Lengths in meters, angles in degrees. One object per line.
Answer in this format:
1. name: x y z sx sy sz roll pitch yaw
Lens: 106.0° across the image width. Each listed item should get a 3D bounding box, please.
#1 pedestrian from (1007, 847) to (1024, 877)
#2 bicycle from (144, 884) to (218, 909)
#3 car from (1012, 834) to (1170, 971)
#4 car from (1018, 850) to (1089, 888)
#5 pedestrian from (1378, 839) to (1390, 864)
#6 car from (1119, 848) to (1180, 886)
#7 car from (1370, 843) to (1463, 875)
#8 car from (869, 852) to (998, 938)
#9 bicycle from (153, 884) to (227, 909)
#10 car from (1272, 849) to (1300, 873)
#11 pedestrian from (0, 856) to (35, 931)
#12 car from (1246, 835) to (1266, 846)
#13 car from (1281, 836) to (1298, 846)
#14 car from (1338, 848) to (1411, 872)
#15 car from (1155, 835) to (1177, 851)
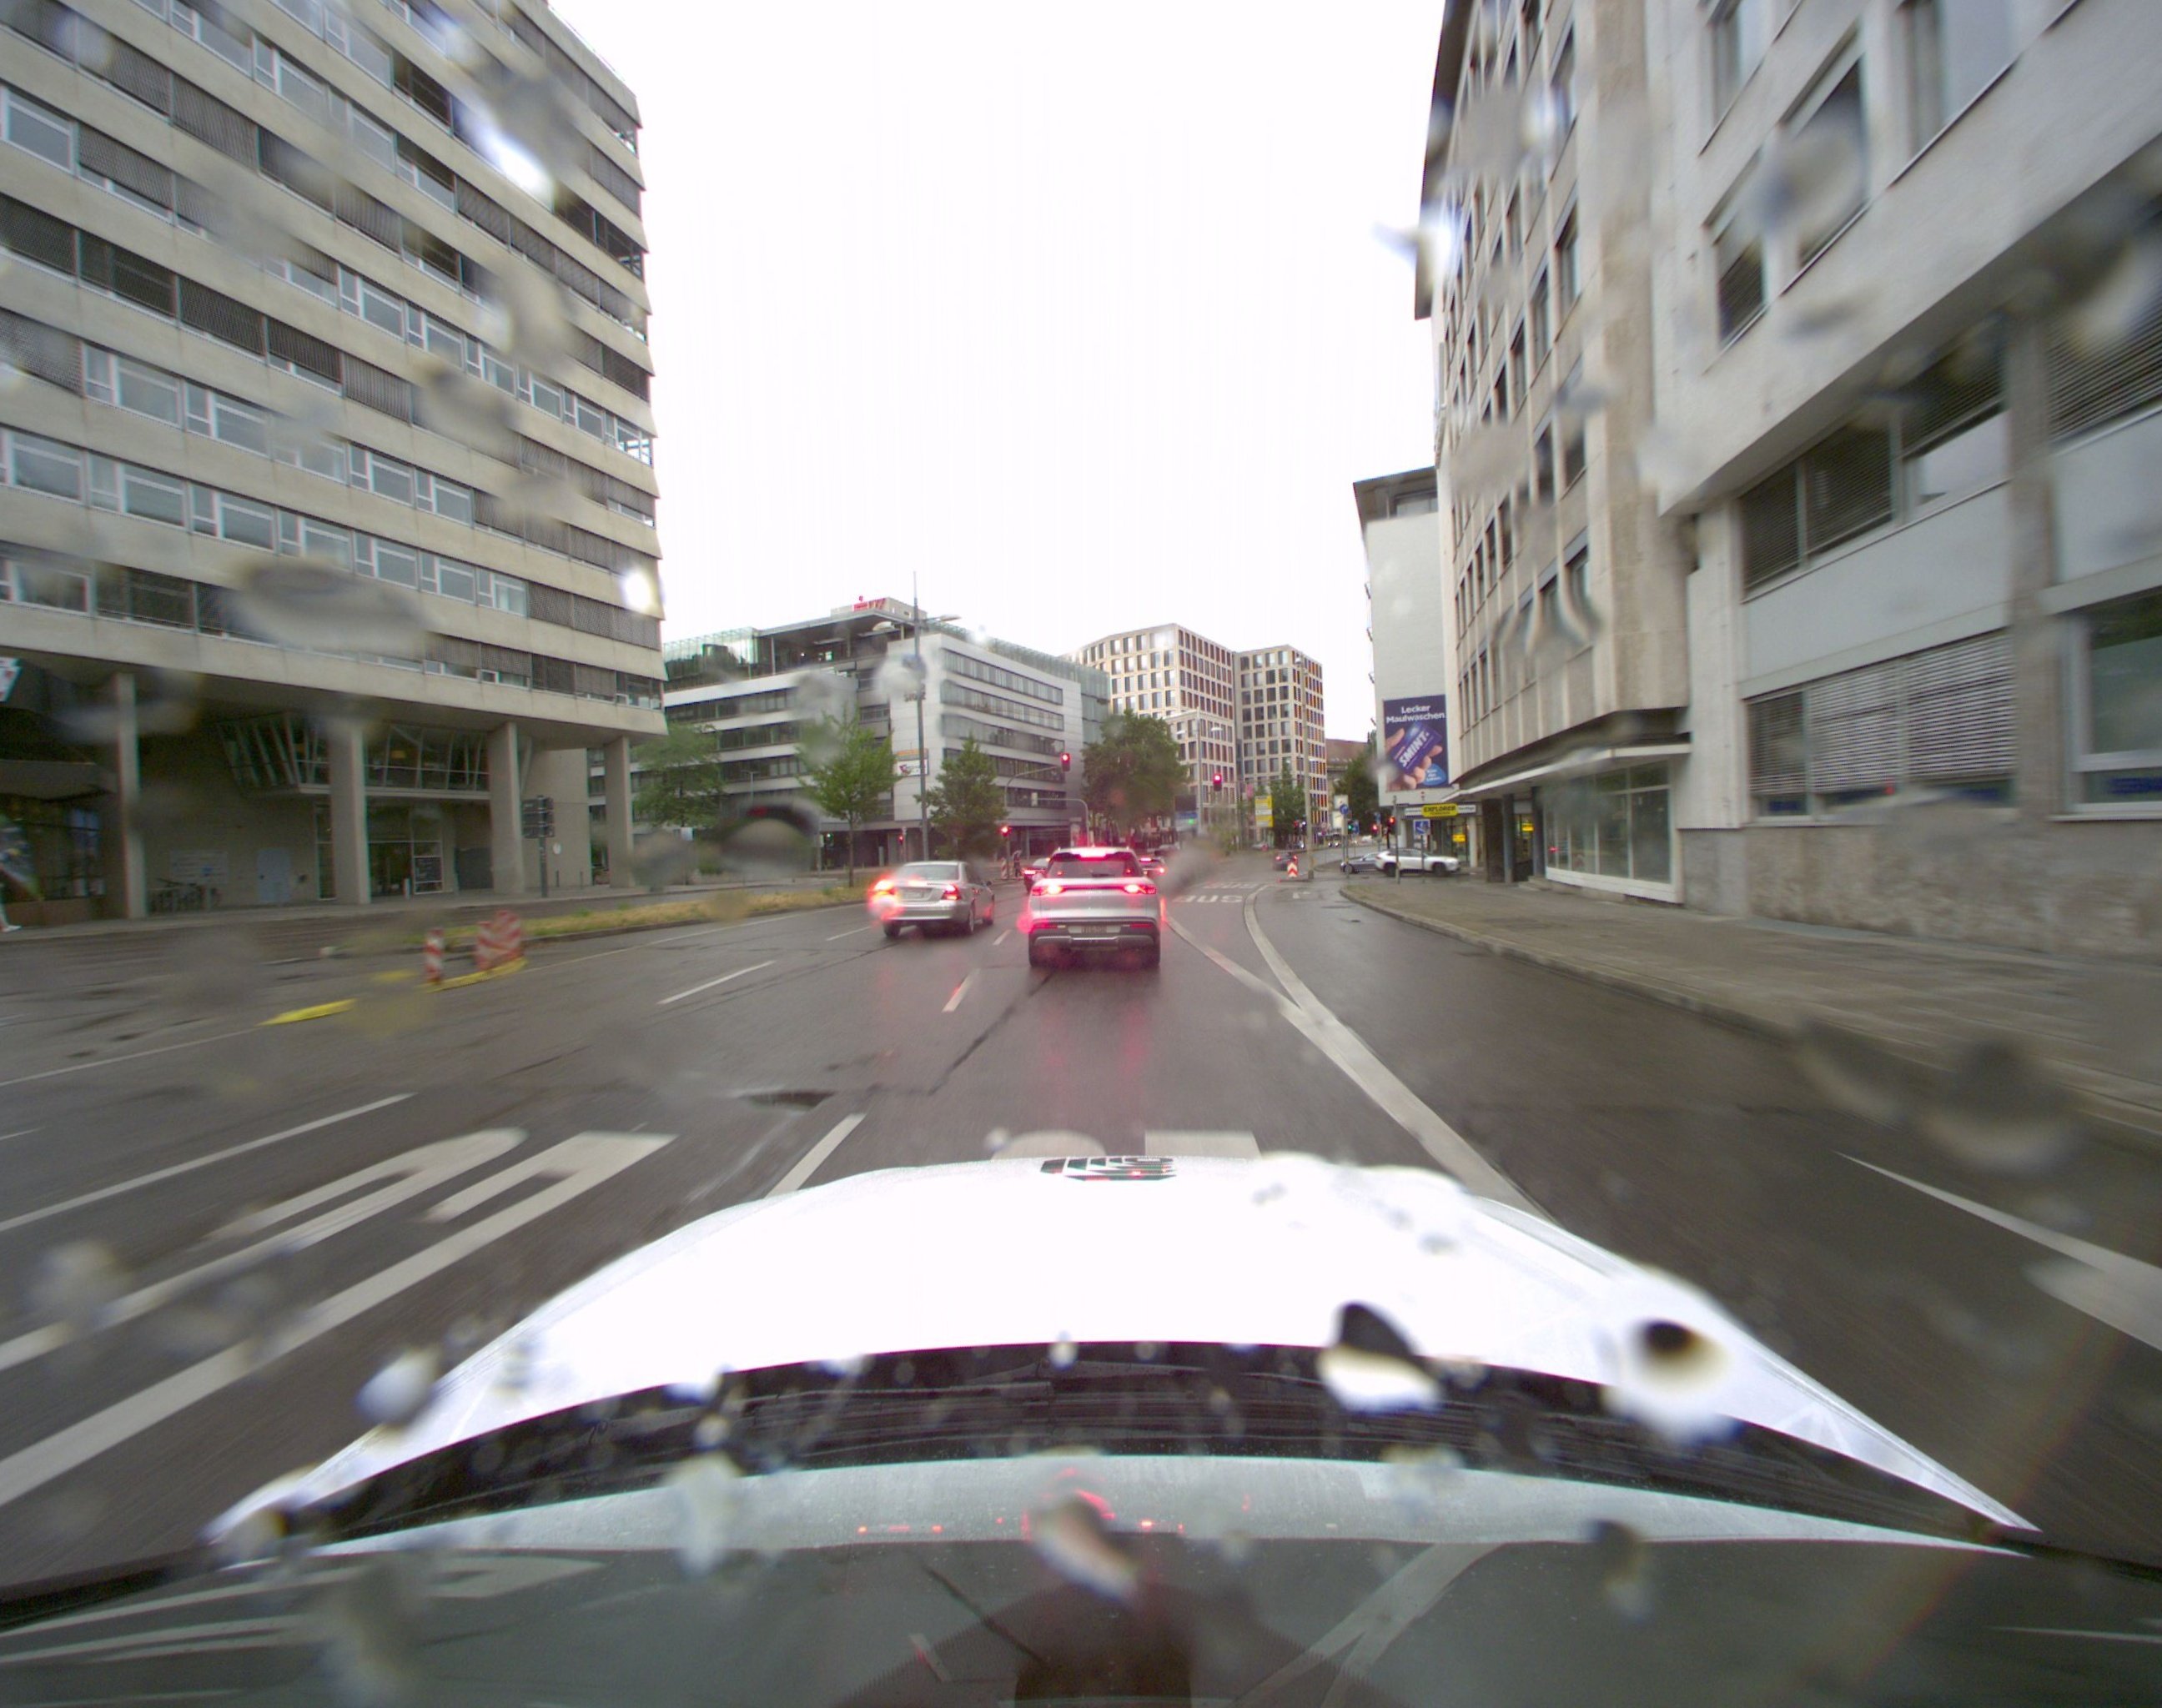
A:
1. pedestrian: -3.826 0.454 47.743 0.919 1.738 0.729 -1 0 -1
2. bicycle: -33.215 1.563 30.098 0.450 0.812 1.783 -1 0 21
3. car: 0.149 0.603 12.690 1.987 1.709 4.483 -1 0 0
4. car: -1.109 0.601 35.004 1.941 1.530 4.016 -1 0 15
5. pedestrian: 20.887 -0.175 56.065 0.721 1.668 0.694 -1 -1 19
6. car: 3.045 0.546 35.517 1.941 1.530 4.016 -1 0 15
7. car: 19.110 0.288 46.502 4.472 1.750 2.013 -1 1 39
8. car: -2.868 0.725 16.726 1.675 1.486 4.199 -1 0 2
9. bicycle: -32.671 1.556 29.883 0.450 0.812 1.783 -1 0 21
10. car: 16.152 0.537 64.238 2.033 1.765 4.372 0 1 13
11. pedestrian: -26.939 0.977 20.255 0.721 1.832 0.929 -1 0 19
12. car: 29.655 -2.270 137.943 1.974 1.705 4.336 0 2 31
13. car: 39.932 -2.486 156.173 1.974 1.705 4.336 0 2 31
14. car: 19.192 0.357 53.287 4.302 1.510 1.928 0 1 27
15. car: 11.463 -1.451 109.799 1.722 2.161 4.517 0 0 22
